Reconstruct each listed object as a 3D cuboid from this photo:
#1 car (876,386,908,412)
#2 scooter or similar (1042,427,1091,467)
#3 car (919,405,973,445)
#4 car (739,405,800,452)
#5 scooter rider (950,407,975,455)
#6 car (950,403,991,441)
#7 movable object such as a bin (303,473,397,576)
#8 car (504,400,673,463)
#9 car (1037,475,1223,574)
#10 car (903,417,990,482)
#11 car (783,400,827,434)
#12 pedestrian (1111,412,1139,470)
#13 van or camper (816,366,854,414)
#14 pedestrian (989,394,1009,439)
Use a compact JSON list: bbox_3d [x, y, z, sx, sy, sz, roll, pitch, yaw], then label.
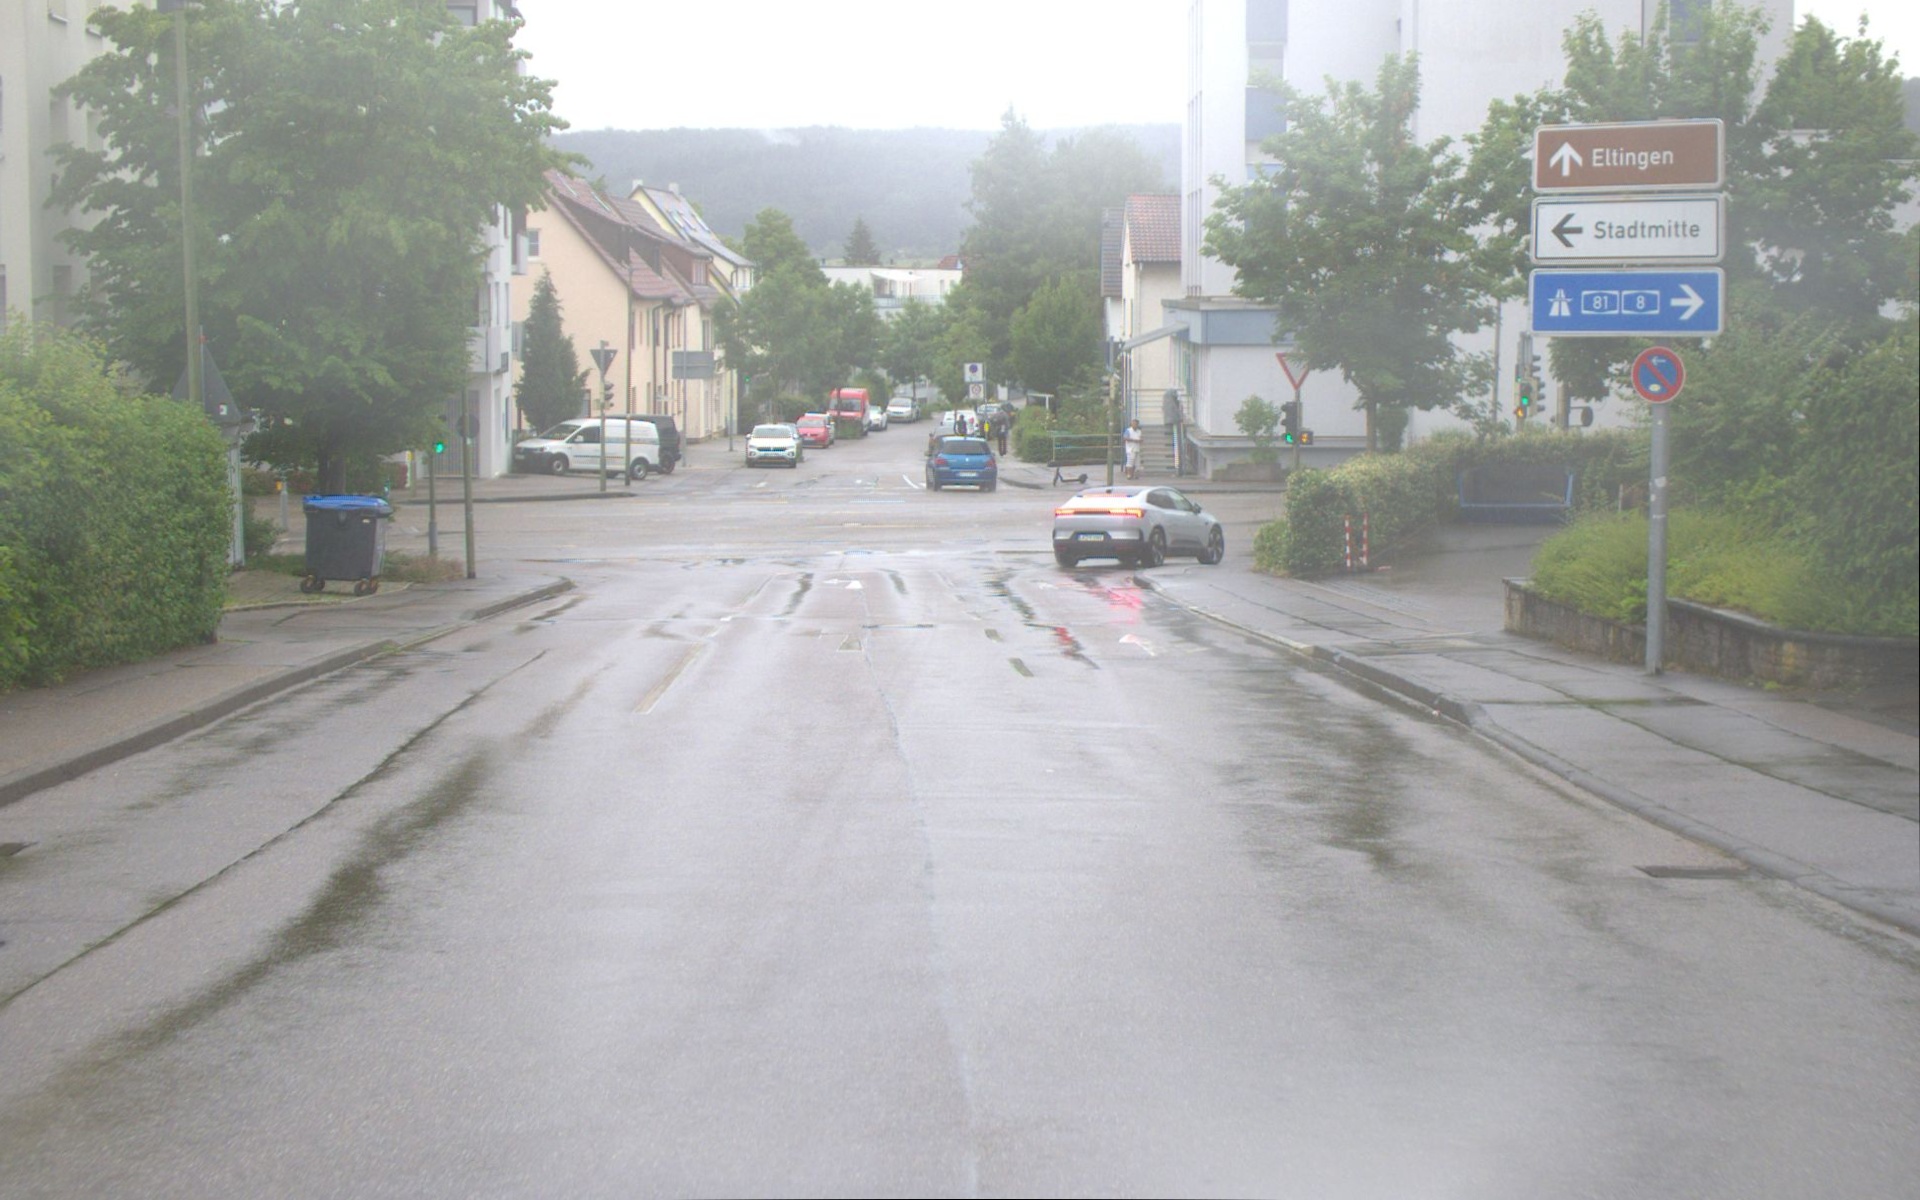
[{"bbox_3d":[-4.205,-12.500,213.372,1.901,1.553,4.192,-1,3,0],"label":"car"},{"bbox_3d":[3.014,-4.351,97.621,1.268,1.077,0.877,-1,3,-5],"label":"scooter or similar"},{"bbox_3d":[-0.560,-7.176,140.737,2.146,1.583,4.129,-1,3,0],"label":"car"},{"bbox_3d":[-6.998,-6.335,126.809,1.993,1.620,4.192,-1,3,0],"label":"car"},{"bbox_3d":[0.083,-6.380,129.747,0.752,1.789,0.673,-2,3,-15],"label":"scooter rider"},{"bbox_3d":[0.480,-8.435,162.596,1.901,1.739,4.192,-1,3,0],"label":"car"},{"bbox_3d":[-8.262,-1.034,46.612,1.071,1.343,1.319,1,2,-3],"label":"movable object such as a bin"},{"bbox_3d":[-11.501,-5.237,106.626,4.830,1.829,2.000,-4,4,-39],"label":"car"},{"bbox_3d":[3.239,-1.446,64.591,1.996,1.678,3.995,1,4,27],"label":"car"},{"bbox_3d":[-0.395,-4.169,95.030,1.993,1.678,4.002,-1,4,-5],"label":"car"},{"bbox_3d":[-7.329,-8.688,163.207,1.901,1.553,4.192,-1,3,0],"label":"car"},{"bbox_3d":[4.763,-4.591,99.061,0.647,1.641,0.526,2,3,-7],"label":"pedestrian"},{"bbox_3d":[-6.739,-11.327,185.716,1.901,2.504,4.240,-1,3,0],"label":"van or camper"},{"bbox_3d":[1.636,-7.733,144.669,0.745,1.842,0.526,-2,2,-7],"label":"pedestrian"}]
